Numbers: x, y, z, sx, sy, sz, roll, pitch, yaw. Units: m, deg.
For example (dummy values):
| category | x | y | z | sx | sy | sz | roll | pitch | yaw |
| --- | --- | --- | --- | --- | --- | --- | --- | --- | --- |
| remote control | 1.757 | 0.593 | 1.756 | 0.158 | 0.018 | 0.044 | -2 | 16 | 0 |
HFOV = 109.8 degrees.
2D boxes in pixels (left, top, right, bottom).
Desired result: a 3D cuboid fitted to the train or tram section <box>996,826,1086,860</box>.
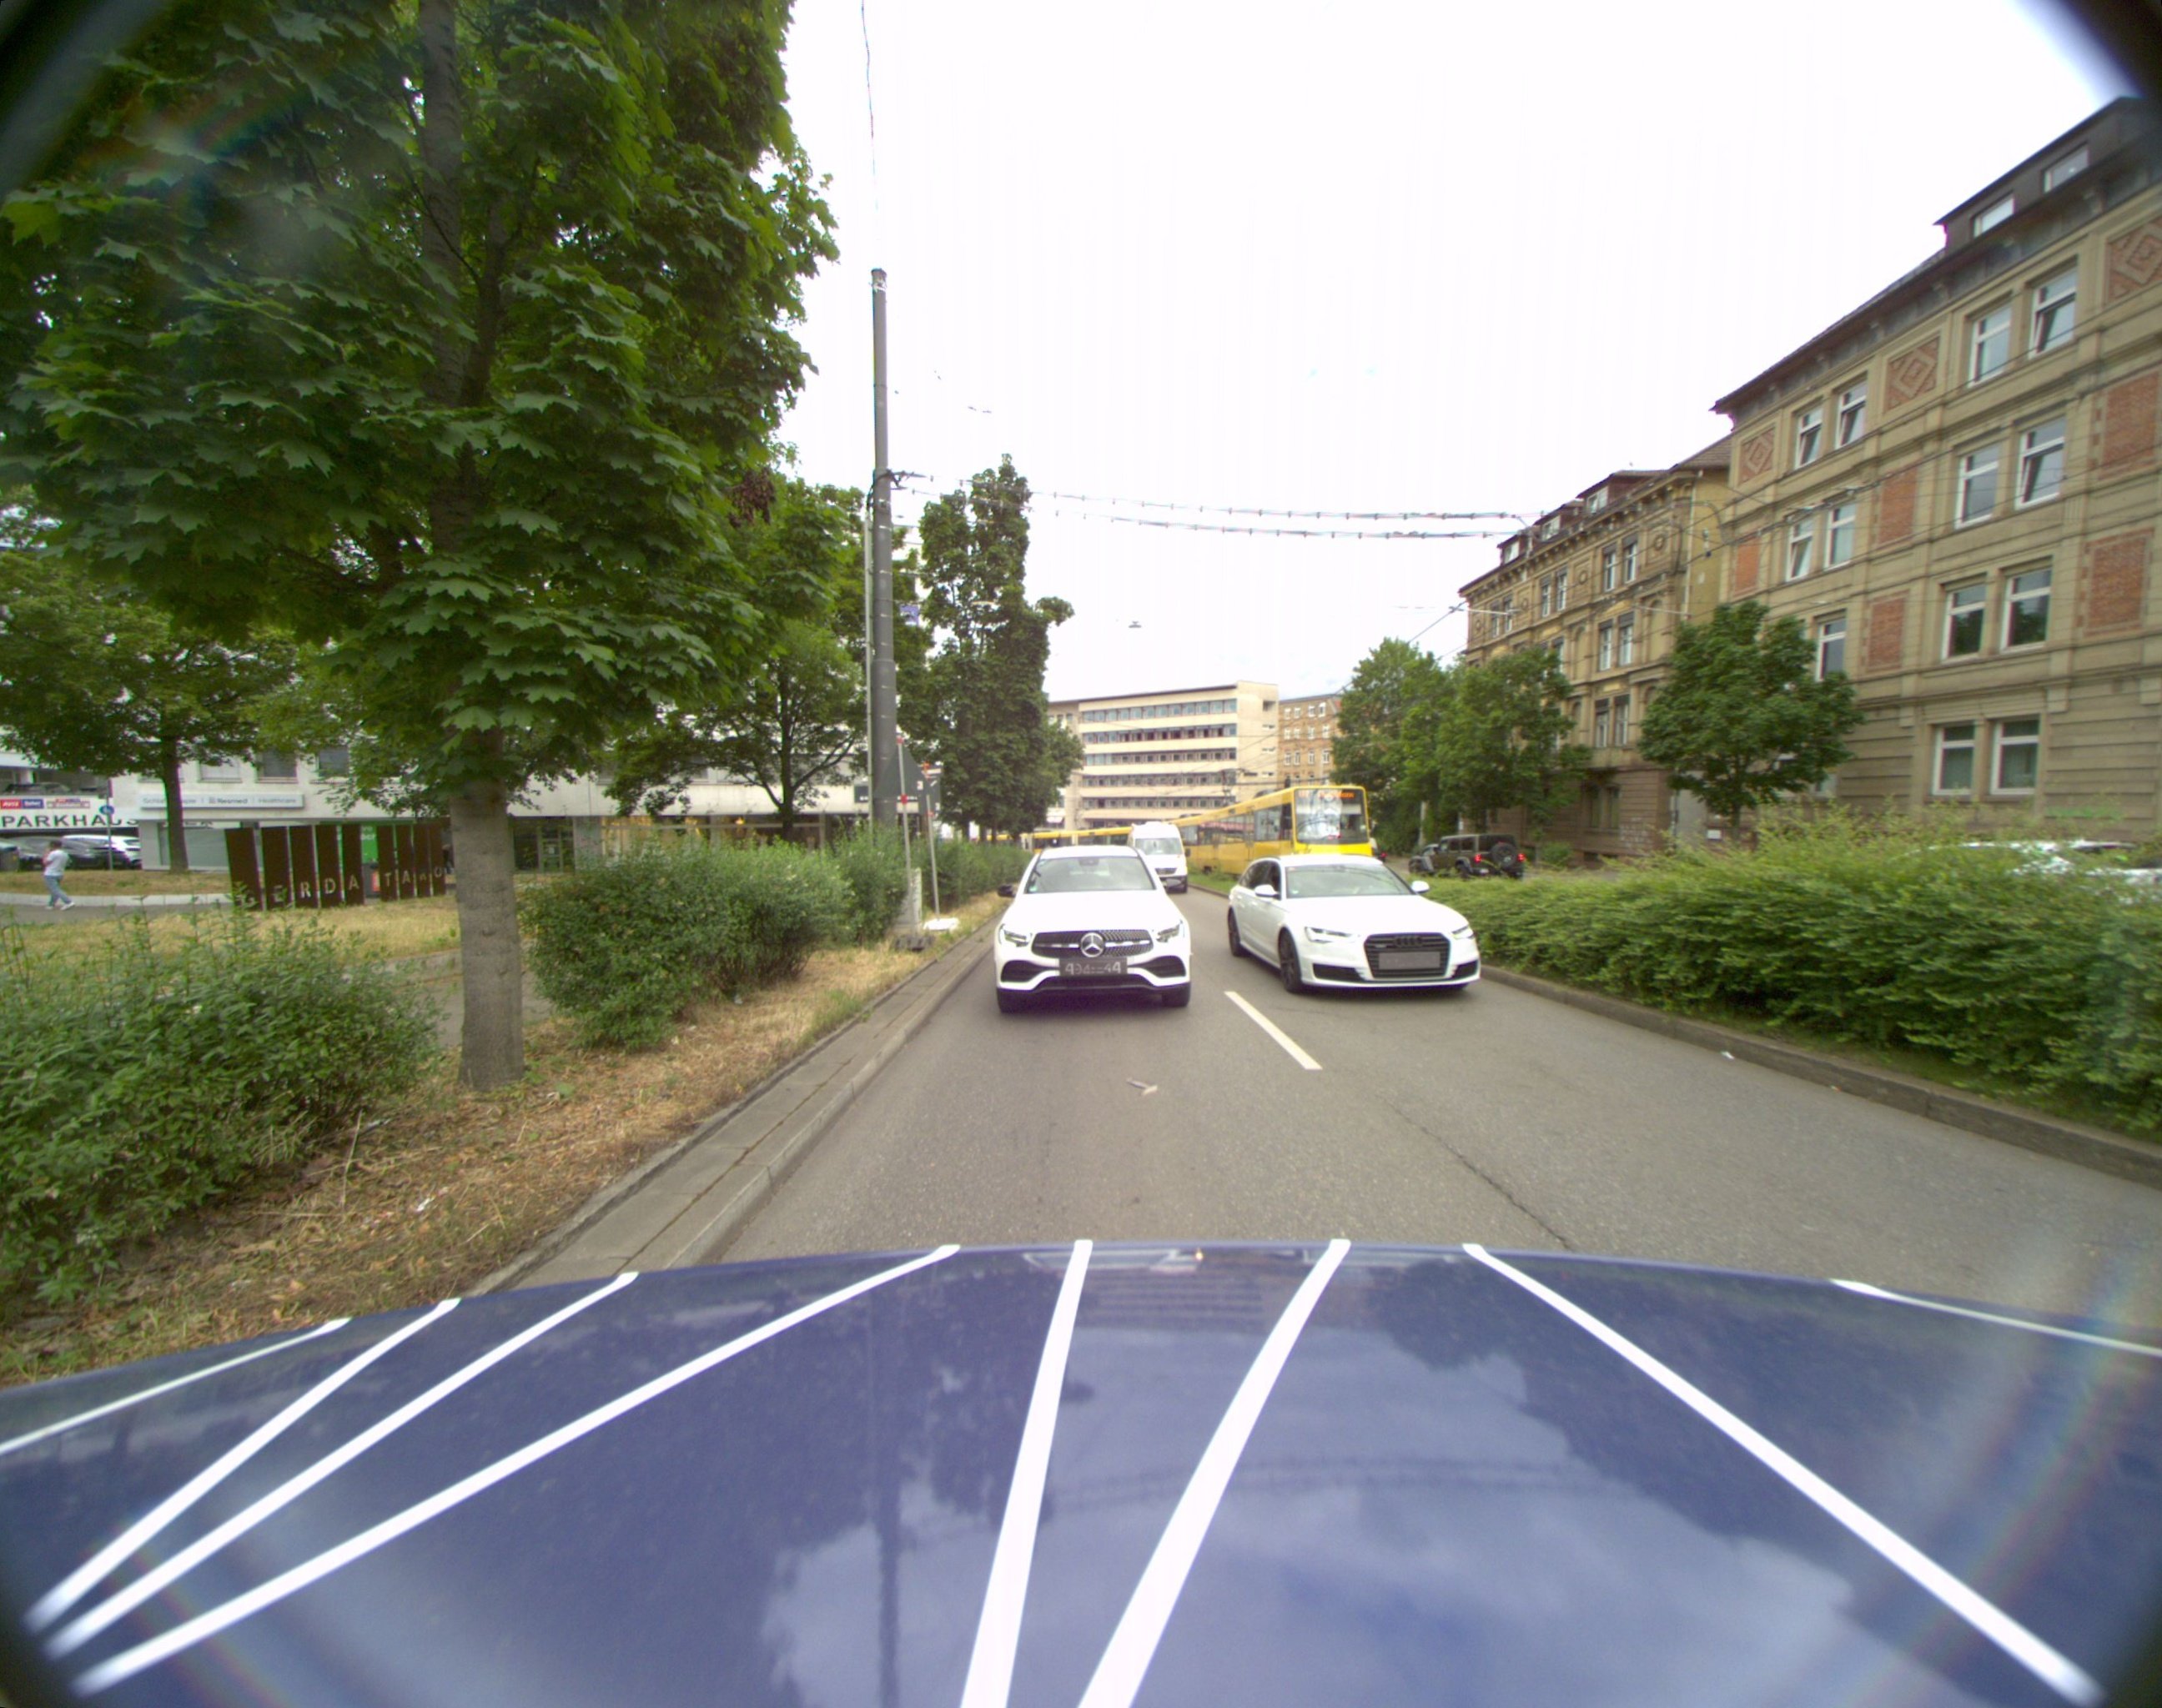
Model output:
| category | x | y | z | sx | sy | sz | roll | pitch | yaw |
| --- | --- | --- | --- | --- | --- | --- | --- | --- | --- |
| train or tram section | -4.788 | -1.225 | 85.631 | 2.895 | 3.423 | 14.191 | -6 | 4 | -34 |

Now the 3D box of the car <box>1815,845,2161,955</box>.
| category | x | y | z | sx | sy | sz | roll | pitch | yaw |
| --- | --- | --- | --- | --- | --- | --- | --- | --- | --- |
| car | 14.580 | 0.616 | 12.224 | 1.744 | 1.479 | 4.067 | 0 | 0 | 3 |

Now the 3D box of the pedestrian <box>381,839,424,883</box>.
| category | x | y | z | sx | sy | sz | roll | pitch | yaw |
| --- | --- | --- | --- | --- | --- | --- | --- | --- | --- |
| pedestrian | -26.834 | 0.254 | 30.068 | 0.880 | 1.691 | 0.876 | -1 | 2 | -11 |

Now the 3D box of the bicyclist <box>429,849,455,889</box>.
| category | x | y | z | sx | sy | sz | roll | pitch | yaw |
| --- | --- | --- | --- | --- | --- | --- | --- | --- | --- |
| bicyclist | -26.146 | 0.616 | 31.117 | 0.596 | 1.593 | 0.513 | -1 | 2 | -11 |

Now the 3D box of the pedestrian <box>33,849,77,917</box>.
| category | x | y | z | sx | sy | sz | roll | pitch | yaw |
| --- | --- | --- | --- | --- | --- | --- | --- | --- | --- |
| pedestrian | -23.259 | 0.642 | 17.226 | 0.572 | 1.513 | 0.541 | 1 | 1 | 33 |

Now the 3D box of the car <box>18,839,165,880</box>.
| category | x | y | z | sx | sy | sz | roll | pitch | yaw |
| --- | --- | --- | --- | --- | --- | --- | --- | --- | --- |
| car | -41.578 | 0.211 | 32.028 | 3.392 | 1.639 | 1.595 | 0 | 1 | -27 |

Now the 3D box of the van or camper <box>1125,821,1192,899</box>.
| category | x | y | z | sx | sy | sz | roll | pitch | yaw |
| --- | --- | --- | --- | --- | --- | --- | --- | --- | --- |
| van or camper | 2.921 | 0.074 | 29.592 | 2.208 | 2.544 | 6.372 | -3 | 3 | 4 |

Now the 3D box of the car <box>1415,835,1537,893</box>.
| category | x | y | z | sx | sy | sz | roll | pitch | yaw |
| --- | --- | --- | --- | --- | --- | --- | --- | --- | --- |
| car | 13.957 | 0.299 | 27.200 | 1.904 | 1.865 | 4.641 | 0 | 1 | -1 |

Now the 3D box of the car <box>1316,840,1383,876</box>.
| category | x | y | z | sx | sy | sz | roll | pitch | yaw |
| --- | --- | --- | --- | --- | --- | --- | --- | --- | --- |
| car | 14.344 | 0.169 | 40.895 | 1.884 | 1.777 | 4.516 | -2 | 1 | -1 |

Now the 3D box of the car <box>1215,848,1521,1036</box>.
| category | x | y | z | sx | sy | sz | roll | pitch | yaw |
| --- | --- | --- | --- | --- | --- | --- | --- | --- | --- |
| car | 3.014 | 0.783 | 9.149 | 1.897 | 1.467 | 4.529 | -3 | 2 | 0 |

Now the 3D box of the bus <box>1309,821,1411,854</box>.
| category | x | y | z | sx | sy | sz | roll | pitch | yaw |
| --- | --- | --- | --- | --- | --- | --- | --- | --- | --- |
| bus | 28.619 | -1.725 | 77.668 | 11.566 | 3.012 | 3.381 | -3 | 2 | -33 |

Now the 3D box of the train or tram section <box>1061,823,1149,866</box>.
| category | x | y | z | sx | sy | sz | roll | pitch | yaw |
| --- | --- | --- | --- | --- | --- | --- | --- | --- | --- |
| train or tram section | 1.955 | -1.096 | 72.931 | 2.934 | 3.540 | 14.198 | -4 | 4 | -21 |

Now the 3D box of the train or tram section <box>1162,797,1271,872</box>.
| category | x | y | z | sx | sy | sz | roll | pitch | yaw |
| --- | --- | --- | --- | --- | --- | --- | --- | --- | --- |
| train or tram section | 7.520 | -1.187 | 44.887 | 2.890 | 3.643 | 14.220 | -3 | 2 | -4 |

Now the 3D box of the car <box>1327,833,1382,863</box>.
| category | x | y | z | sx | sy | sz | roll | pitch | yaw |
| --- | --- | --- | --- | --- | --- | --- | --- | --- | --- |
| car | 19.174 | -0.489 | 53.516 | 1.999 | 1.840 | 4.989 | -1 | 4 | -1 |

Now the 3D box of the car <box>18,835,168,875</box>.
| category | x | y | z | sx | sy | sz | roll | pitch | yaw |
| --- | --- | --- | --- | --- | --- | --- | --- | --- | --- |
| car | -43.025 | 0.012 | 33.210 | 3.631 | 1.664 | 1.595 | 0 | 1 | -27 |

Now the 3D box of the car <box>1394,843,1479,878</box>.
| category | x | y | z | sx | sy | sz | roll | pitch | yaw |
| --- | --- | --- | --- | --- | --- | --- | --- | --- | --- |
| car | 16.877 | 0.269 | 36.321 | 1.870 | 1.546 | 4.436 | 0 | 1 | -1 |

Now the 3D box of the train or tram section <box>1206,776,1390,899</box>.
| category | x | y | z | sx | sy | sz | roll | pitch | yaw |
| --- | --- | --- | --- | --- | --- | --- | --- | --- | --- |
| train or tram section | 7.891 | -0.765 | 30.624 | 2.889 | 3.643 | 14.468 | -3 | 2 | -1 |

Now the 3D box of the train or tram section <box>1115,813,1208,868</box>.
| category | x | y | z | sx | sy | sz | roll | pitch | yaw |
| --- | --- | --- | --- | --- | --- | --- | --- | --- | --- |
| train or tram section | 5.886 | -1.116 | 59.107 | 2.891 | 3.643 | 14.211 | -3 | 2 | -11 |

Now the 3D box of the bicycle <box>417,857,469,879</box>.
| category | x | y | z | sx | sy | sz | roll | pitch | yaw |
| --- | --- | --- | --- | --- | --- | --- | --- | --- | --- |
| bicycle | -26.110 | 0.585 | 31.122 | 1.543 | 0.854 | 0.519 | -1 | 1 | -12 |

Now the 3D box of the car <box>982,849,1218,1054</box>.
| category | x | y | z | sx | sy | sz | roll | pitch | yaw |
| --- | --- | --- | --- | --- | --- | --- | --- | --- | --- |
| car | 0.004 | 0.806 | 8.824 | 1.935 | 1.622 | 4.771 | -3 | 1 | -4 |
